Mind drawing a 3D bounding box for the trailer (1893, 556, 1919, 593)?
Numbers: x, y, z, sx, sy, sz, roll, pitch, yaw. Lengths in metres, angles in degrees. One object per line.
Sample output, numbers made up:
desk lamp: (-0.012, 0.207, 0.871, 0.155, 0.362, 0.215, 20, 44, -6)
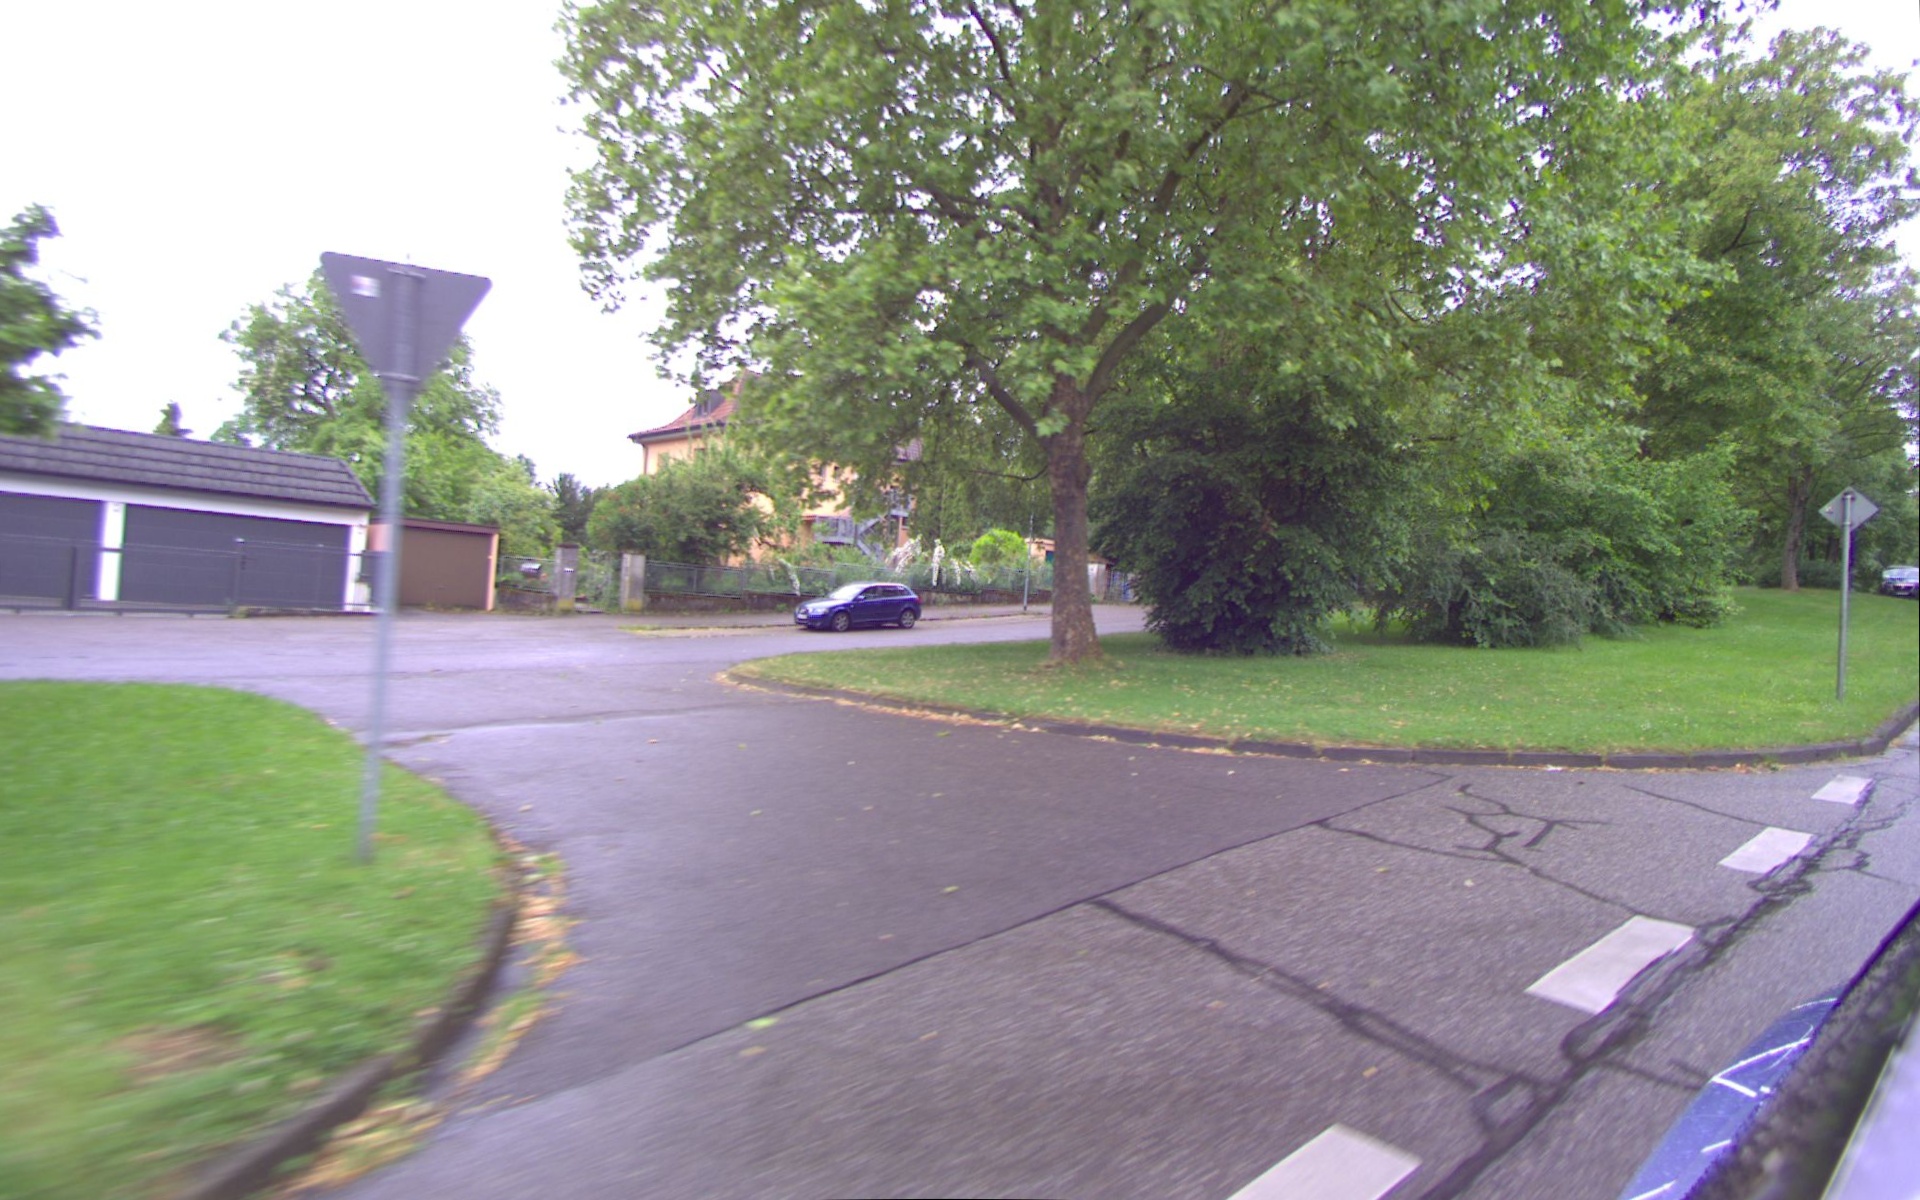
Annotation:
trailer: (55.712, -1.492, 59.071, 1.697, 2.079, 3.889, 3, 3, 44)

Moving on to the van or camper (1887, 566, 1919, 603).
van or camper: (52.325, -0.869, 55.514, 1.994, 1.891, 5.576, 4, 4, 44)

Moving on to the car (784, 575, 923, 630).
car: (-3.195, 0.038, 30.816, 3.993, 1.497, 1.647, -1, 5, -42)
